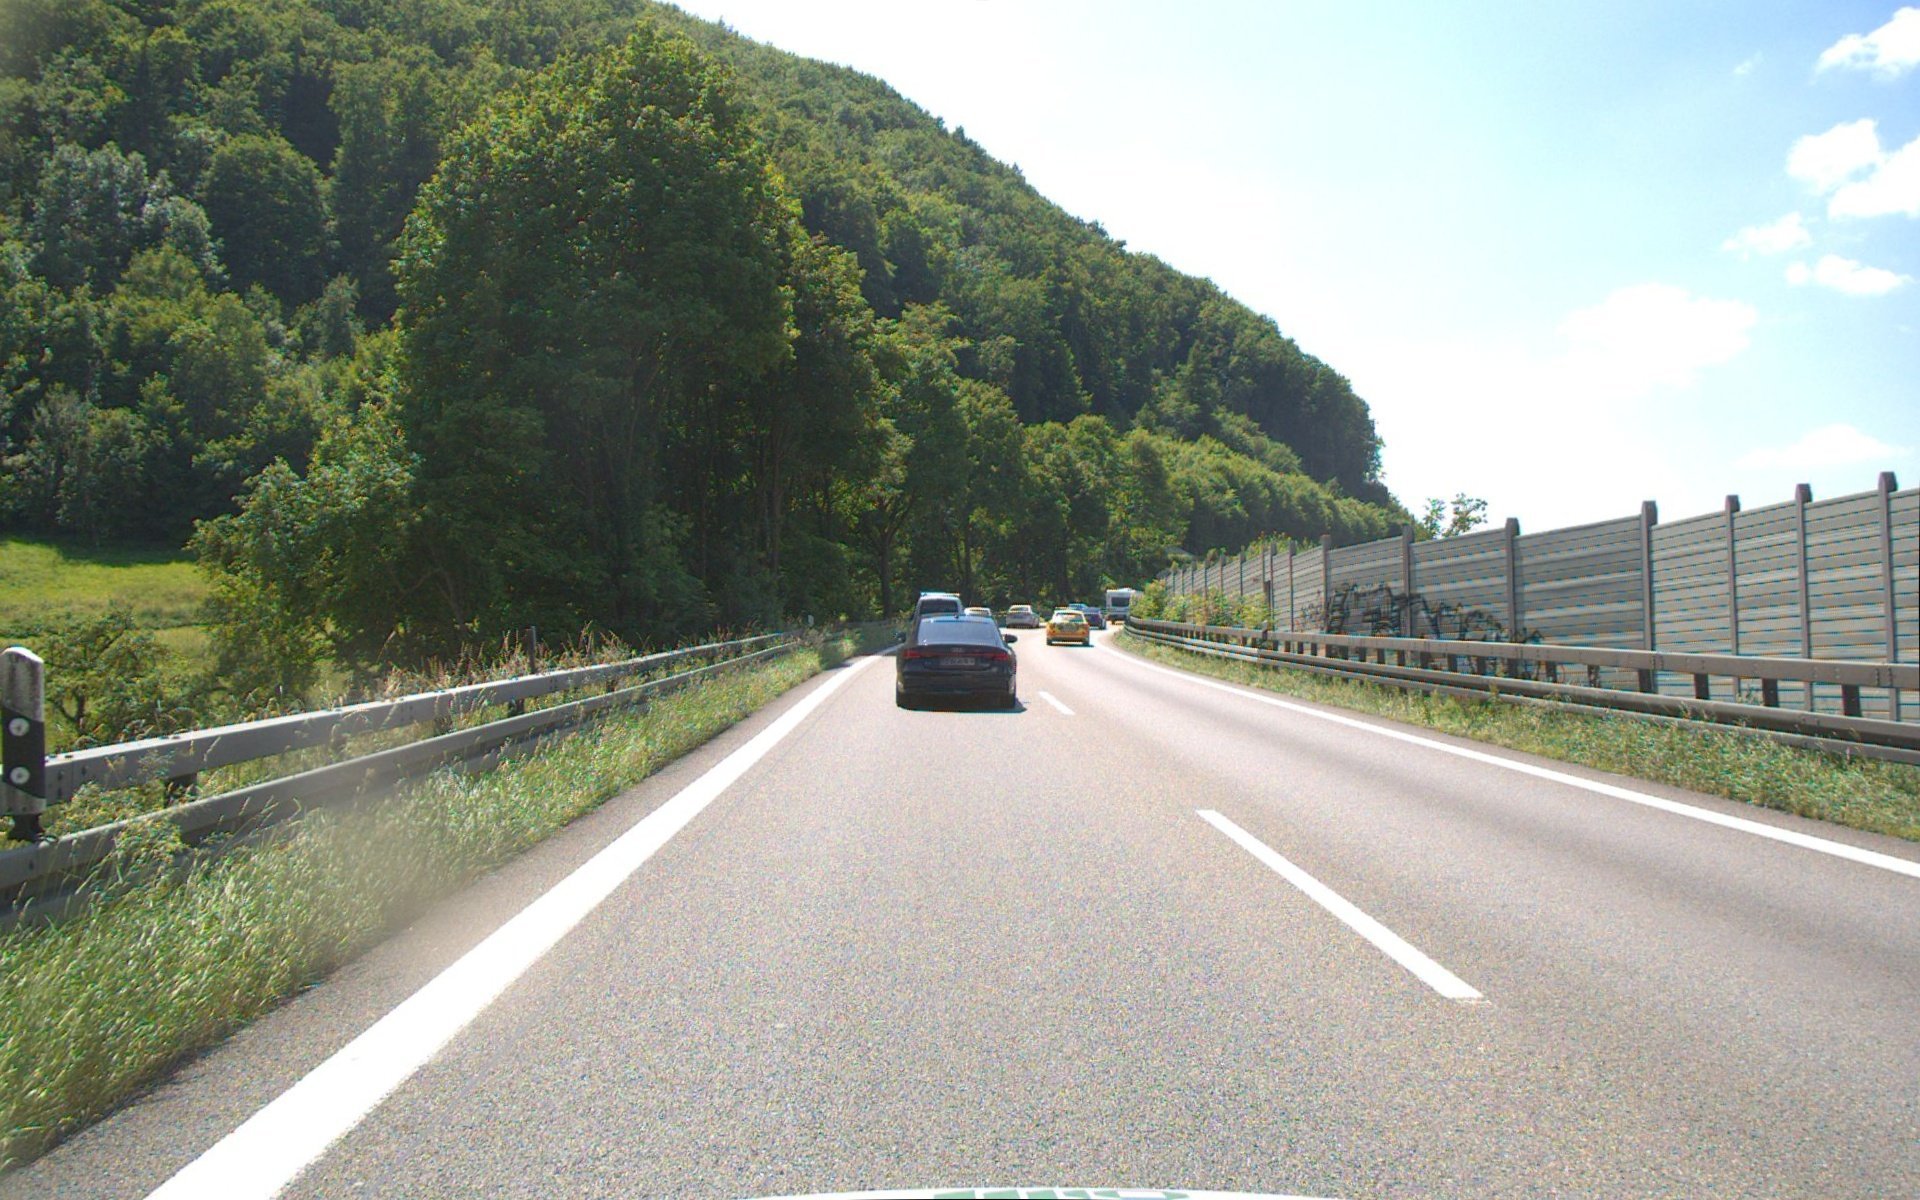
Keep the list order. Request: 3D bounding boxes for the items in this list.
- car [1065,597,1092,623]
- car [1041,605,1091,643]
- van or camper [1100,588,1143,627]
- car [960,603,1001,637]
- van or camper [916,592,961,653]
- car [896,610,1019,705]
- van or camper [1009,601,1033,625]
[{"bbox_3d":[7.878,0.677,109.869,1.736,1.665,4.002,0,-1,4],"label":"car"},{"bbox_3d":[4.436,1.004,69.531,1.825,1.514,3.999,0,-1,0],"label":"car"},{"bbox_3d":[12.813,0.628,130.974,2.403,2.969,6.130,0,-1,15],"label":"van or camper"},{"bbox_3d":[0.891,0.894,74.089,1.711,1.456,3.999,0,-1,-1],"label":"car"},{"bbox_3d":[-0.690,0.704,51.980,1.363,1.848,3.999,0,-1,-1],"label":"van or camper"},{"bbox_3d":[-0.075,0.869,26.358,1.800,1.373,3.999,-1,-1,-1],"label":"car"},{"bbox_3d":[3.984,0.855,108.153,1.525,1.561,3.506,0,-1,3],"label":"van or camper"}]
